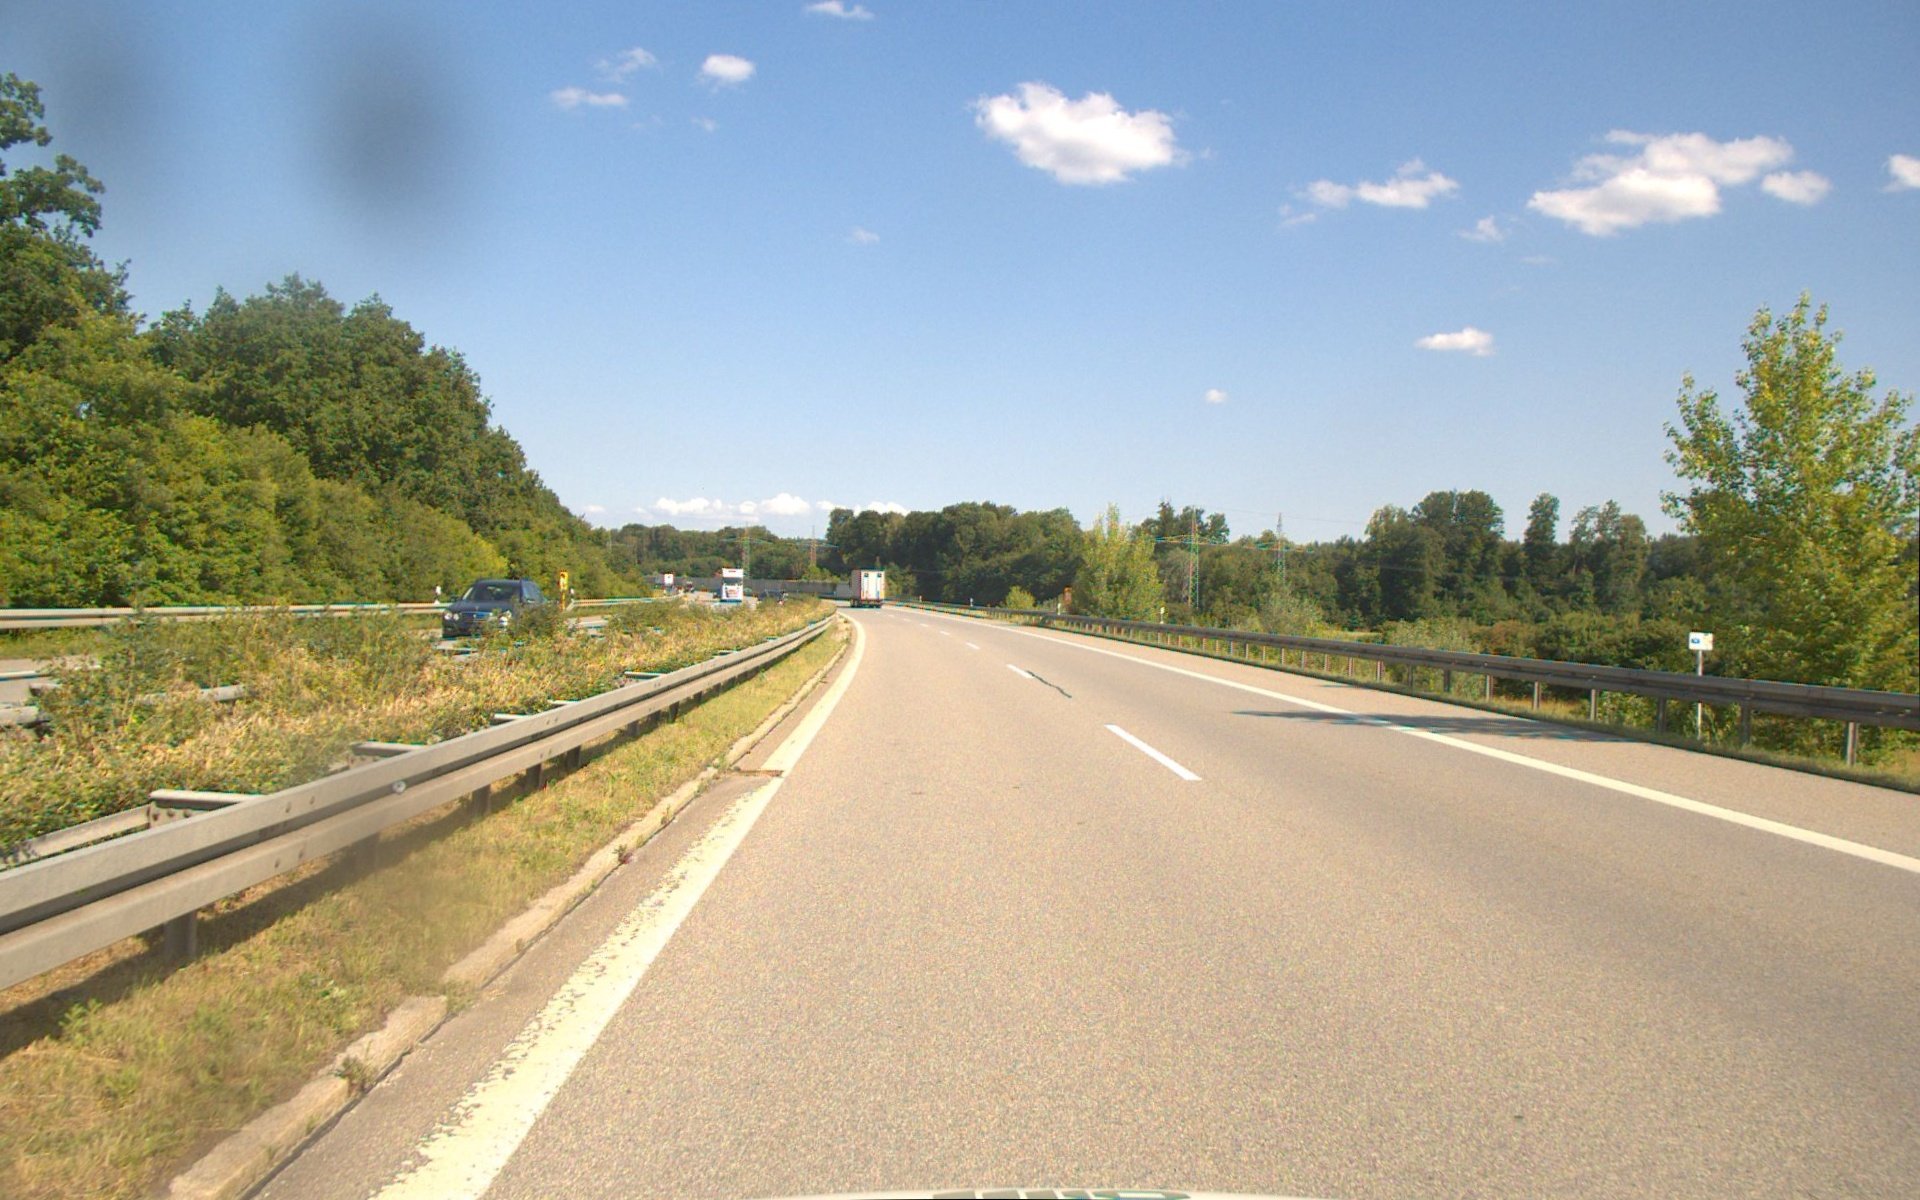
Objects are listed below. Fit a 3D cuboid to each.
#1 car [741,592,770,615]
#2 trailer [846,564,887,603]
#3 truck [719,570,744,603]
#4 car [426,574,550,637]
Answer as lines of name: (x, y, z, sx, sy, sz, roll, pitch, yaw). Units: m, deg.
car: (-12.994, 0.231, 105.182, 1.695, 1.453, 3.877, 0, 0, -5)
trailer: (-10.331, -1.806, 182.074, 2.833, 4.137, 12.387, 0, 0, -11)
truck: (-26.667, -1.585, 193.097, 2.690, 3.792, 5.959, 0, 0, -9)
car: (-11.600, 0.116, 40.935, 1.954, 1.457, 4.484, 0, 0, -3)
